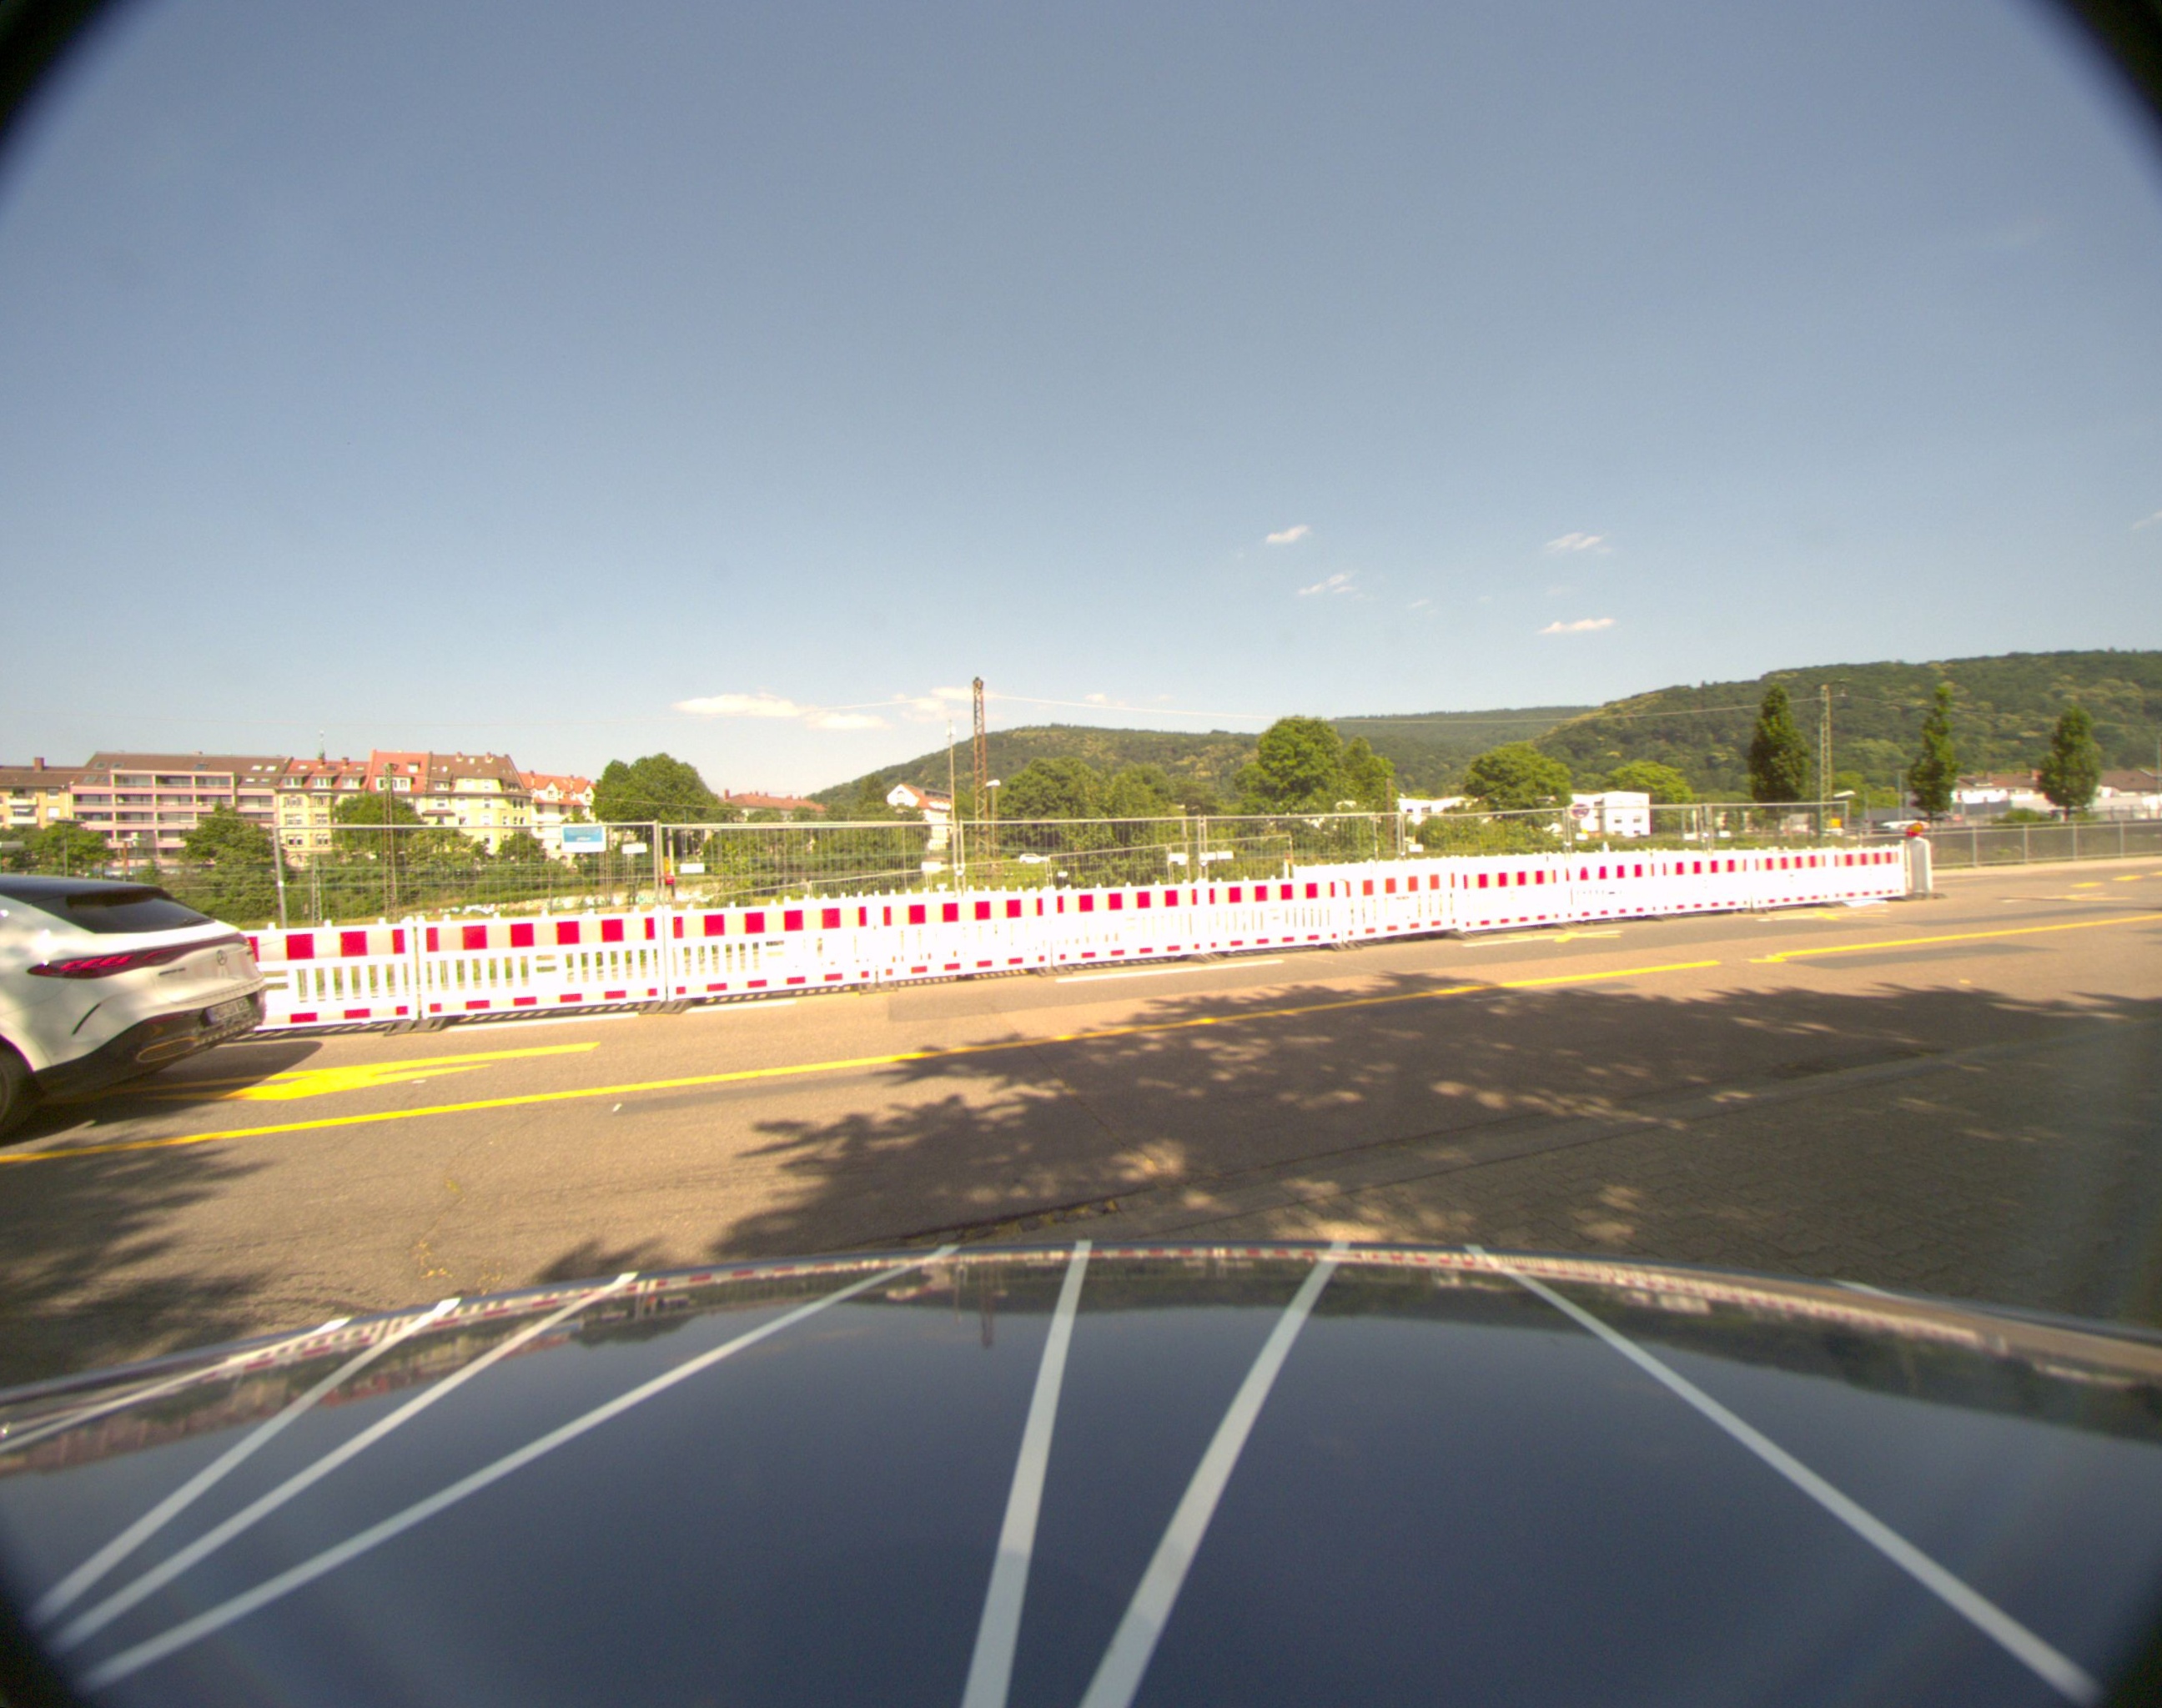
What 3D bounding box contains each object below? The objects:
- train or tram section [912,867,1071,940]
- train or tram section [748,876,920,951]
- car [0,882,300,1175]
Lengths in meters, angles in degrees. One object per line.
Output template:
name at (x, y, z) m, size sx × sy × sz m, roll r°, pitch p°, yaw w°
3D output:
train or tram section at (-5.347, 2.903, 45.701) m, size 8.971 × 3.691 × 3.023 m, roll -3°, pitch -1°, yaw -7°
train or tram section at (-14.234, 3.401, 44.529) m, size 8.971 × 3.689 × 3.023 m, roll -3°, pitch -1°, yaw -7°
car at (-8.542, 1.151, 4.482) m, size 5.037 × 1.635 × 1.996 m, roll -3°, pitch 1°, yaw -26°
